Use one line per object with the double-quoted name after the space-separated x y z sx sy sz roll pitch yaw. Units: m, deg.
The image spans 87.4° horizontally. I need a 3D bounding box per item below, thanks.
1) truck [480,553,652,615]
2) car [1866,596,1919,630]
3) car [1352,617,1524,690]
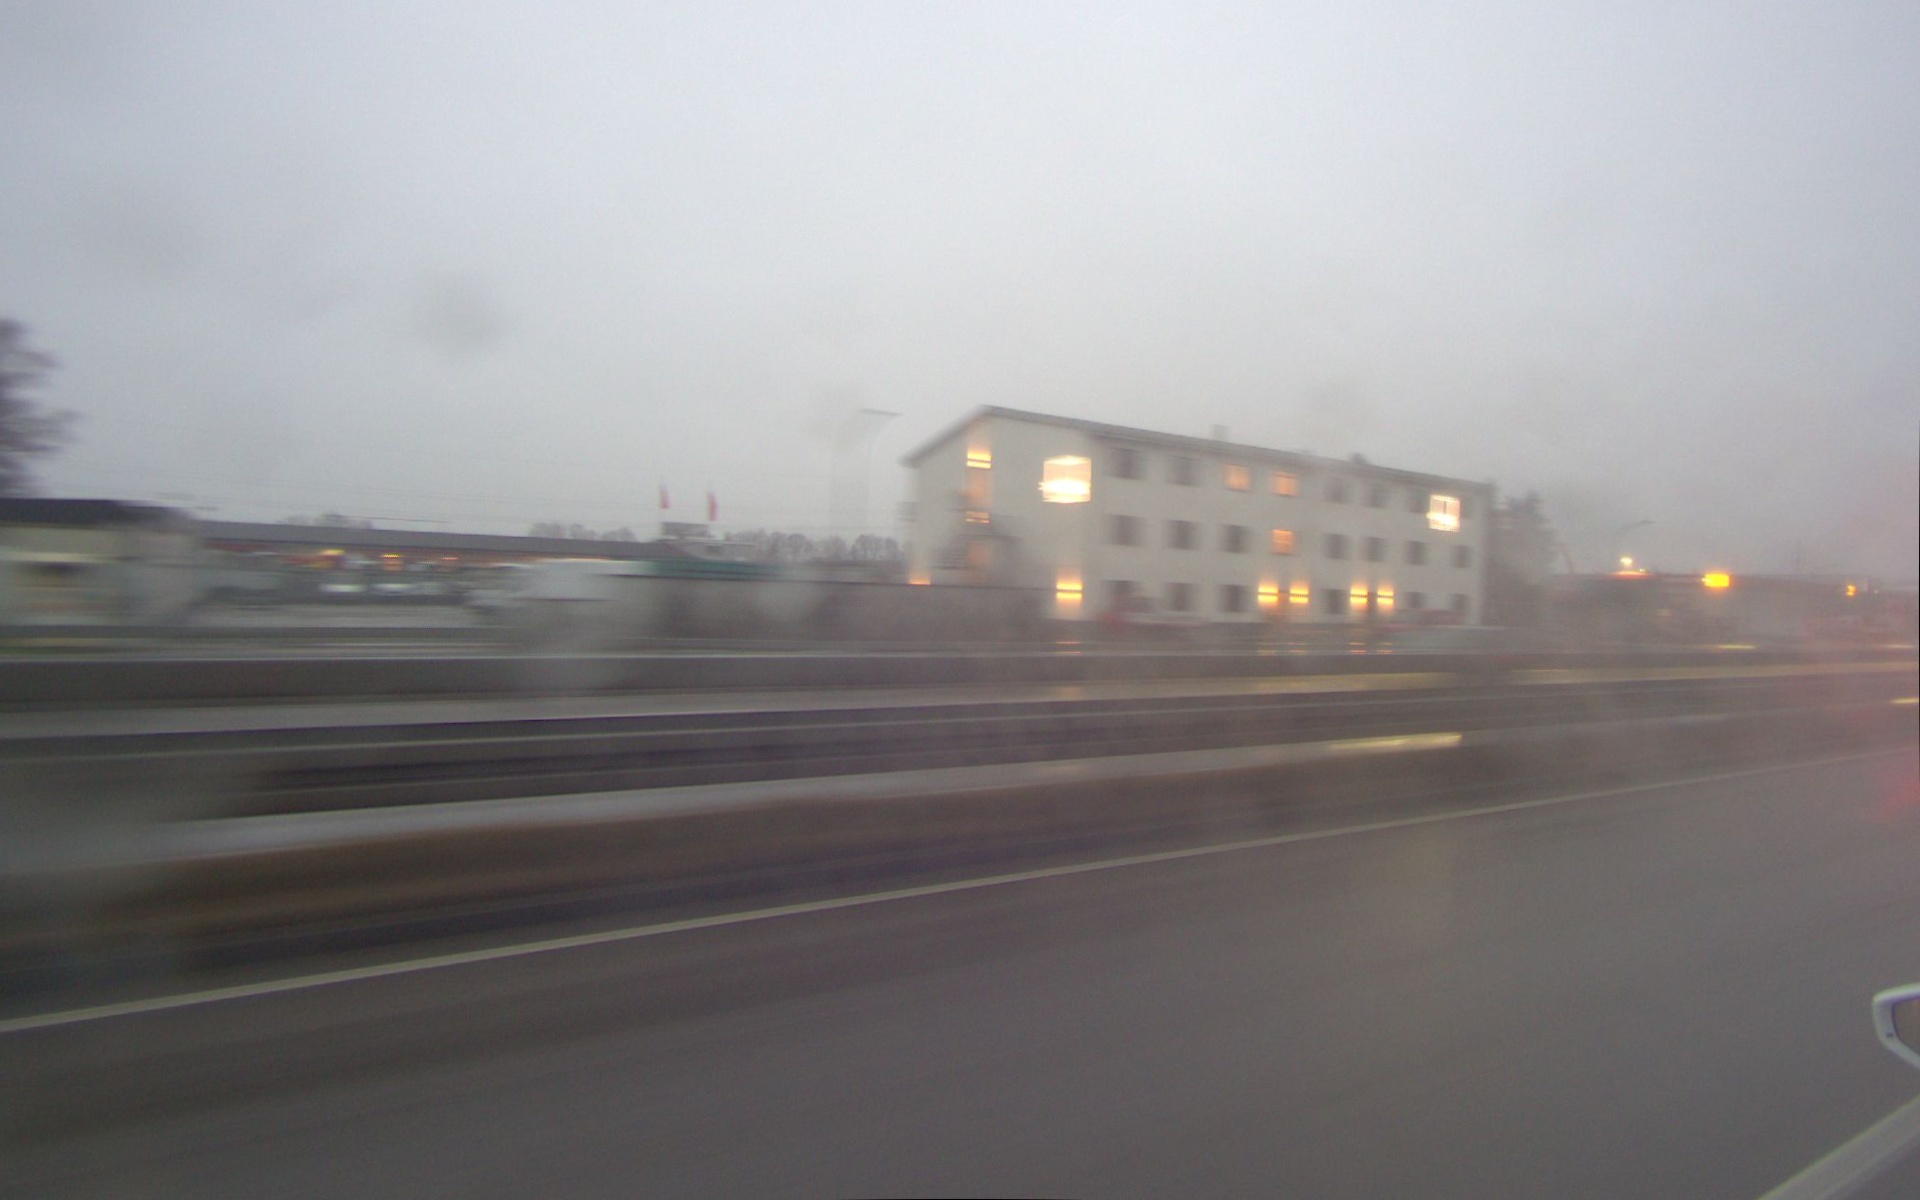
-17.106 -0.666 43.868 6.729 2.488 1.981 1 2 -34 "truck"
54.190 0.757 58.169 3.840 1.846 1.875 1 2 -38 "car"
10.230 1.096 21.481 3.578 1.419 1.602 1 0 -30 "car"
